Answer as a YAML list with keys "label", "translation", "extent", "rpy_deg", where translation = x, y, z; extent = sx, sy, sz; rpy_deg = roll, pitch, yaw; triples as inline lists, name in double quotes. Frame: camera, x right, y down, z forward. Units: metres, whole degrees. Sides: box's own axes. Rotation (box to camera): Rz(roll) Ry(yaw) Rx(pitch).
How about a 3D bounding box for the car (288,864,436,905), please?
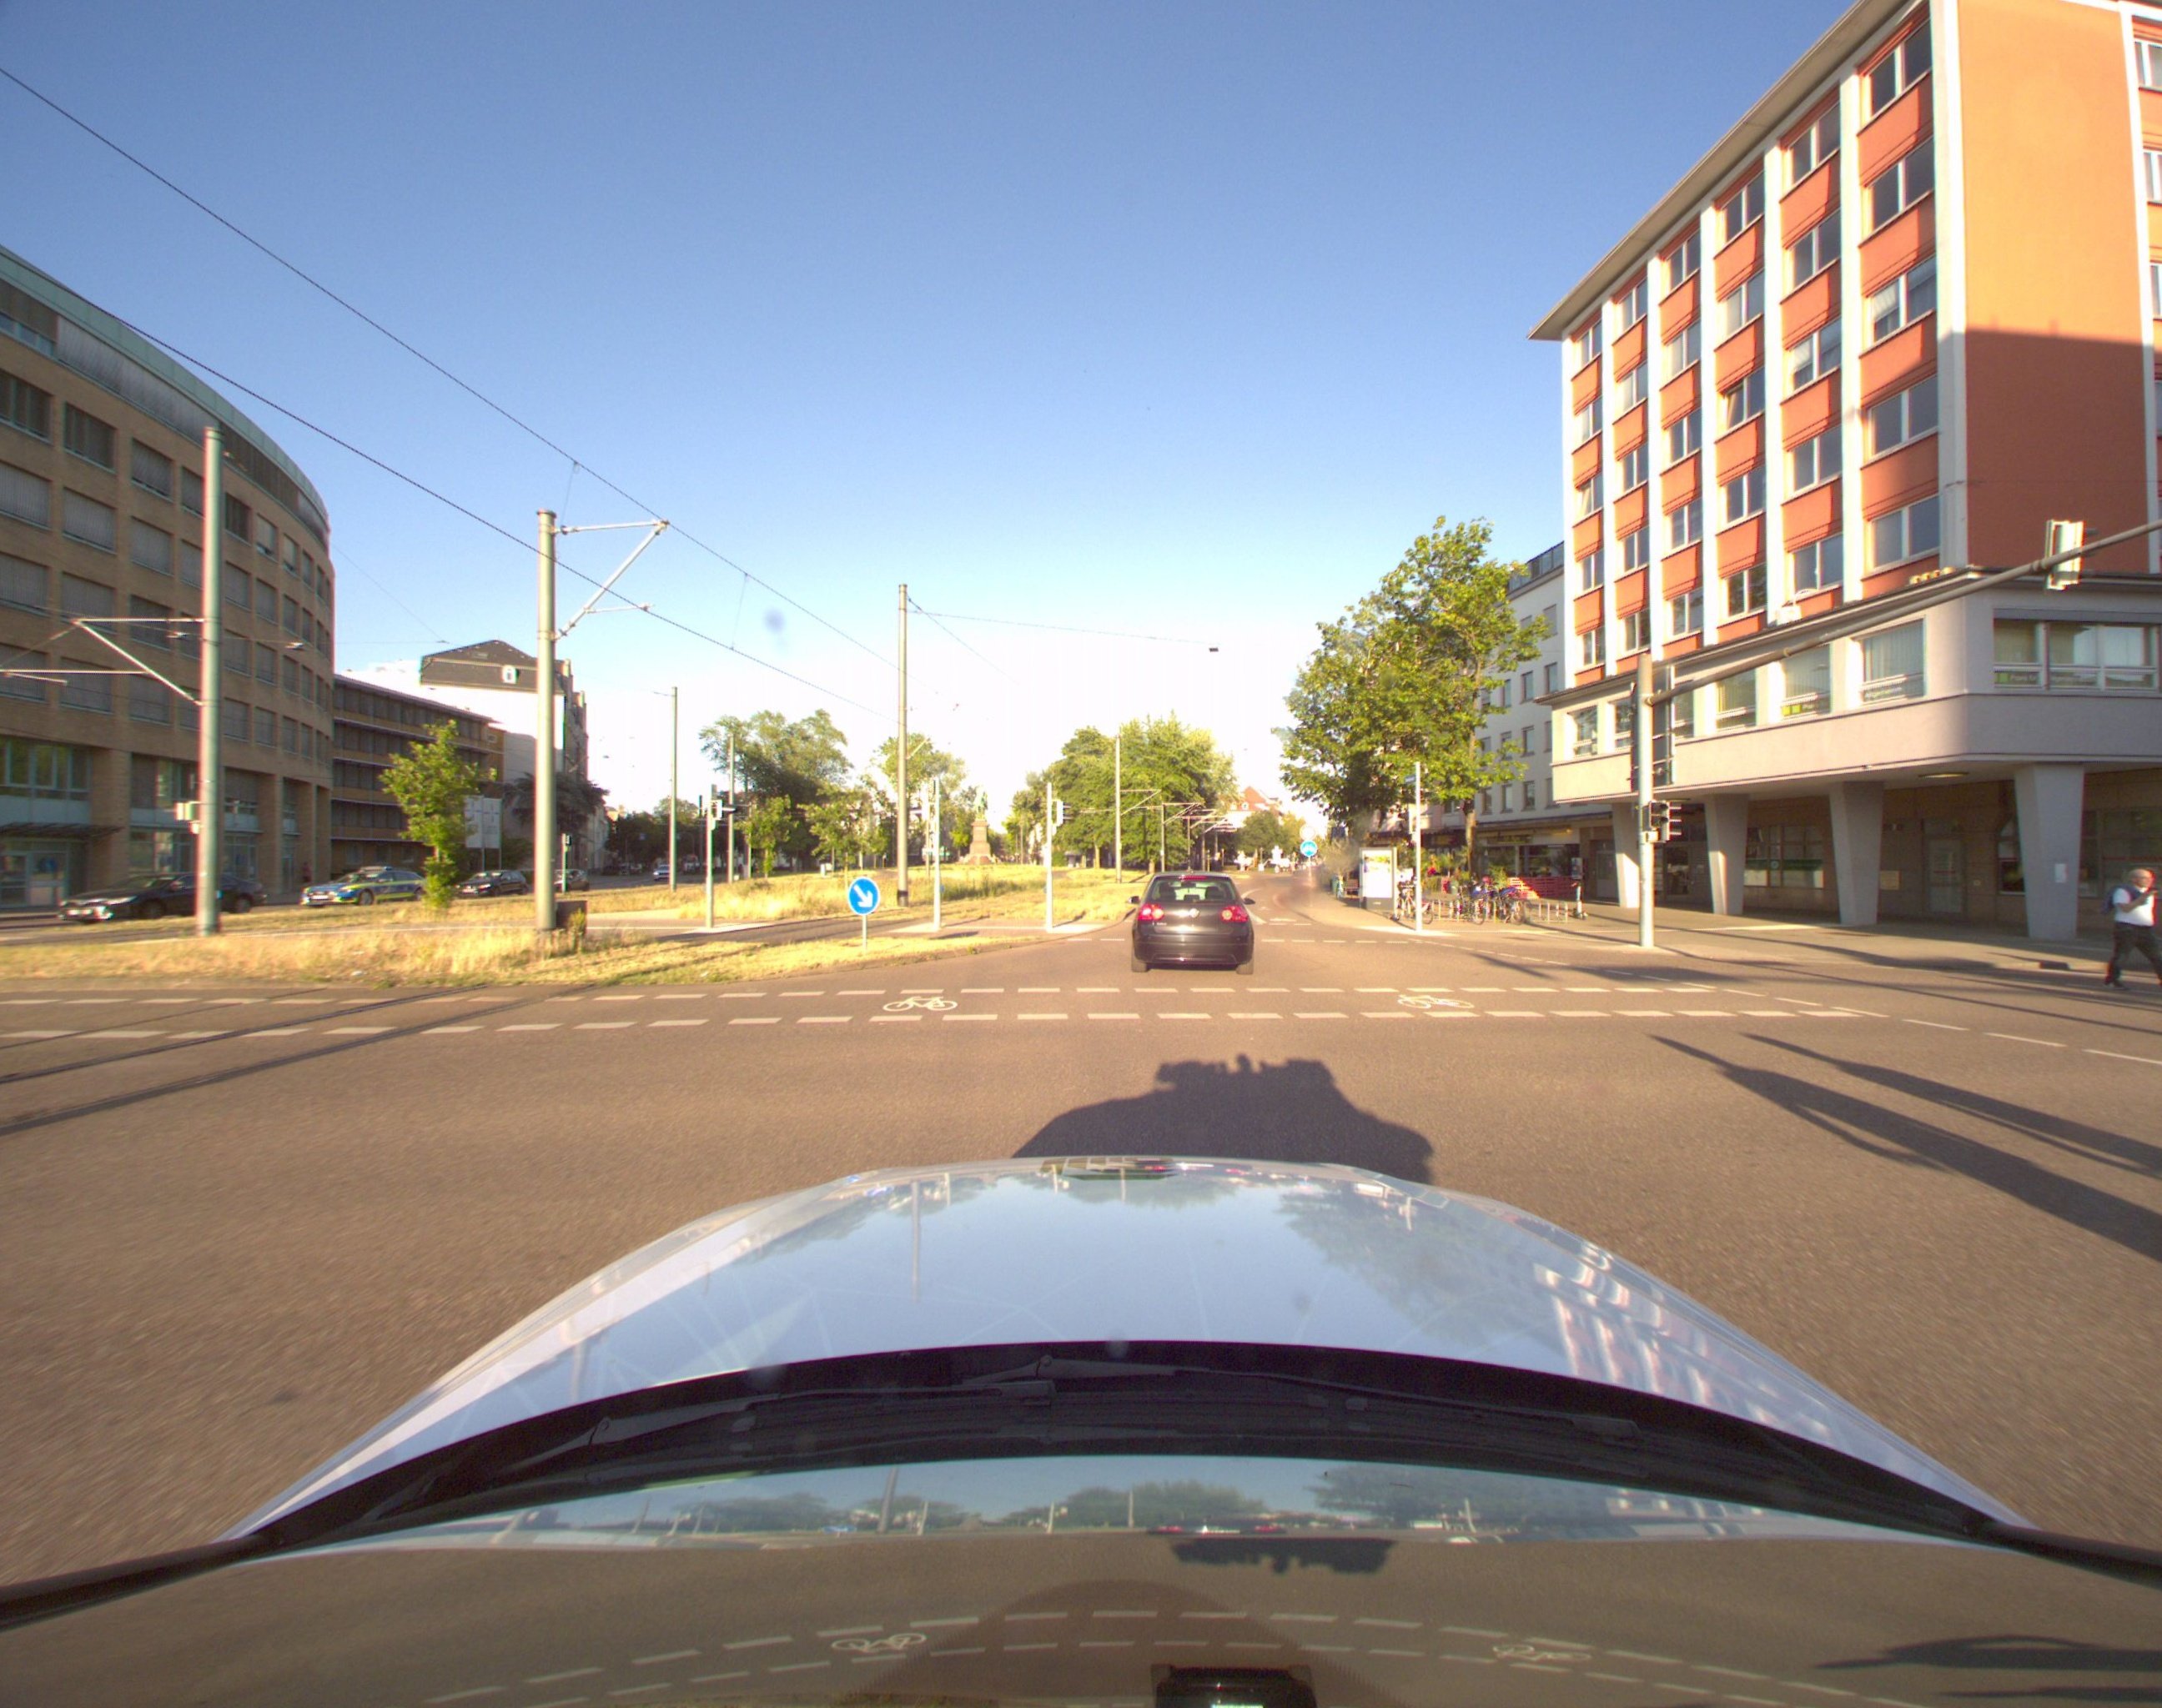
- label: "car"
  translation: [-28.705, 1.150, 32.762]
  extent: [1.884, 1.480, 4.776]
  rpy_deg: [0, 0, -3]

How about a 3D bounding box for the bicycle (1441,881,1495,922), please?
- label: "bicycle"
  translation: [11.666, 1.411, 24.618]
  extent: [0.643, 1.126, 1.871]
  rpy_deg: [0, 1, -4]

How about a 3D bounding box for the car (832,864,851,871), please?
- label: "car"
  translation: [-45.133, 2.519, 153.646]
  extent: [3.337, 1.361, 1.515]
  rpy_deg: [0, 0, -9]

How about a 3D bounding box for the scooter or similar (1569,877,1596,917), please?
- label: "scooter or similar"
  translation: [16.487, 1.403, 26.777]
  extent: [0.412, 1.254, 1.187]
  rpy_deg: [0, 0, 14]

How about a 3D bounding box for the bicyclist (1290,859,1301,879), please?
- label: "bicyclist"
  translation: [17.380, 1.185, 65.848]
  extent: [0.771, 1.618, 1.030]
  rpy_deg: [1, 0, 18]

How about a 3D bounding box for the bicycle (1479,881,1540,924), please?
- label: "bicycle"
  translation: [12.973, 1.438, 24.740]
  extent: [0.643, 1.158, 2.121]
  rpy_deg: [0, 1, -4]

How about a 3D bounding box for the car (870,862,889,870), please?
- label: "car"
  translation: [-38.358, 2.202, 155.368]
  extent: [3.337, 1.507, 1.653]
  rpy_deg: [0, 0, -9]

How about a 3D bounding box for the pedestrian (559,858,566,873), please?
- label: "pedestrian"
  translation: [-47.929, 1.066, 75.256]
  extent: [0.413, 1.430, 0.484]
  rpy_deg: [0, 0, -6]

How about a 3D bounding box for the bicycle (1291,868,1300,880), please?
- label: "bicycle"
  translation: [17.369, 1.612, 65.840]
  extent: [0.574, 0.987, 1.944]
  rpy_deg: [1, 0, 18]

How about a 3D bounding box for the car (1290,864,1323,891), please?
- label: "car"
  translation: [13.468, 1.378, 48.585]
  extent: [1.714, 1.472, 3.916]
  rpy_deg: [-3, -1, 17]

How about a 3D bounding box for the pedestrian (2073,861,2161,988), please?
- label: "pedestrian"
  translation: [14.635, 0.949, 11.369]
  extent: [0.567, 1.701, 0.811]
  rpy_deg: [0, 0, -4]

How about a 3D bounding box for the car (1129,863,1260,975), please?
- label: "car"
  translation: [1.770, 0.888, 12.987]
  extent: [1.738, 1.461, 4.111]
  rpy_deg: [0, 0, 7]

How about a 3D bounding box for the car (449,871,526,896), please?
- label: "car"
  translation: [-29.551, 1.445, 40.686]
  extent: [1.518, 1.153, 3.590]
  rpy_deg: [0, 0, -7]

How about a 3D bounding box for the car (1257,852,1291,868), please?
- label: "car"
  translation: [33.851, 1.054, 143.066]
  extent: [5.508, 2.595, 2.148]
  rpy_deg: [0, -1, -8]

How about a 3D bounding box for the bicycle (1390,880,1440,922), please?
- label: "bicycle"
  translation: [10.003, 1.374, 24.449]
  extent: [0.643, 1.126, 1.871]
  rpy_deg: [0, 1, -4]

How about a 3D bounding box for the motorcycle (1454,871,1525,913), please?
- label: "motorcycle"
  translation: [13.963, 1.284, 27.869]
  extent: [2.036, 1.406, 0.761]
  rpy_deg: [0, 0, 2]

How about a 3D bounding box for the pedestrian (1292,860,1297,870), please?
- label: "pedestrian"
  translation: [32.320, 1.655, 123.413]
  extent: [0.730, 1.555, 0.634]
  rpy_deg: [0, -1, 14]

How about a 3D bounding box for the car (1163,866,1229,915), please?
- label: "car"
  translation: [4.116, 1.229, 28.569]
  extent: [1.852, 1.441, 4.213]
  rpy_deg: [-2, 0, 13]

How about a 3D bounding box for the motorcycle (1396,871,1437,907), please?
- label: "motorcycle"
  translation: [12.331, 1.276, 29.976]
  extent: [0.664, 1.242, 2.201]
  rpy_deg: [0, 0, 1]

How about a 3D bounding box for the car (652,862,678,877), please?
- label: "car"
  translation: [-42.060, 1.554, 82.399]
  extent: [1.776, 1.482, 4.280]
  rpy_deg: [0, 0, -20]

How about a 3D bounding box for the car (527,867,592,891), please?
- label: "car"
  translation: [-30.272, 1.444, 47.378]
  extent: [1.643, 1.281, 3.733]
  rpy_deg: [0, 0, -5]

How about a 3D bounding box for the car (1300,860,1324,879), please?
- label: "car"
  translation: [20.789, 1.391, 73.191]
  extent: [1.767, 1.556, 4.254]
  rpy_deg: [-3, -1, 19]

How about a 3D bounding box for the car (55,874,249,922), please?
- label: "car"
  translation: [-28.070, 1.285, 24.807]
  extent: [1.722, 1.282, 3.781]
  rpy_deg: [0, 0, -5]

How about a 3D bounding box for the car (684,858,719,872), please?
- label: "car"
  translation: [-53.630, 1.584, 115.212]
  extent: [4.312, 1.970, 1.763]
  rpy_deg: [0, 0, -22]

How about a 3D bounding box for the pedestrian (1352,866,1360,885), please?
- label: "pedestrian"
  translation: [25.616, 1.971, 75.758]
  extent: [0.617, 1.740, 0.665]
  rpy_deg: [-3, -2, 19]
